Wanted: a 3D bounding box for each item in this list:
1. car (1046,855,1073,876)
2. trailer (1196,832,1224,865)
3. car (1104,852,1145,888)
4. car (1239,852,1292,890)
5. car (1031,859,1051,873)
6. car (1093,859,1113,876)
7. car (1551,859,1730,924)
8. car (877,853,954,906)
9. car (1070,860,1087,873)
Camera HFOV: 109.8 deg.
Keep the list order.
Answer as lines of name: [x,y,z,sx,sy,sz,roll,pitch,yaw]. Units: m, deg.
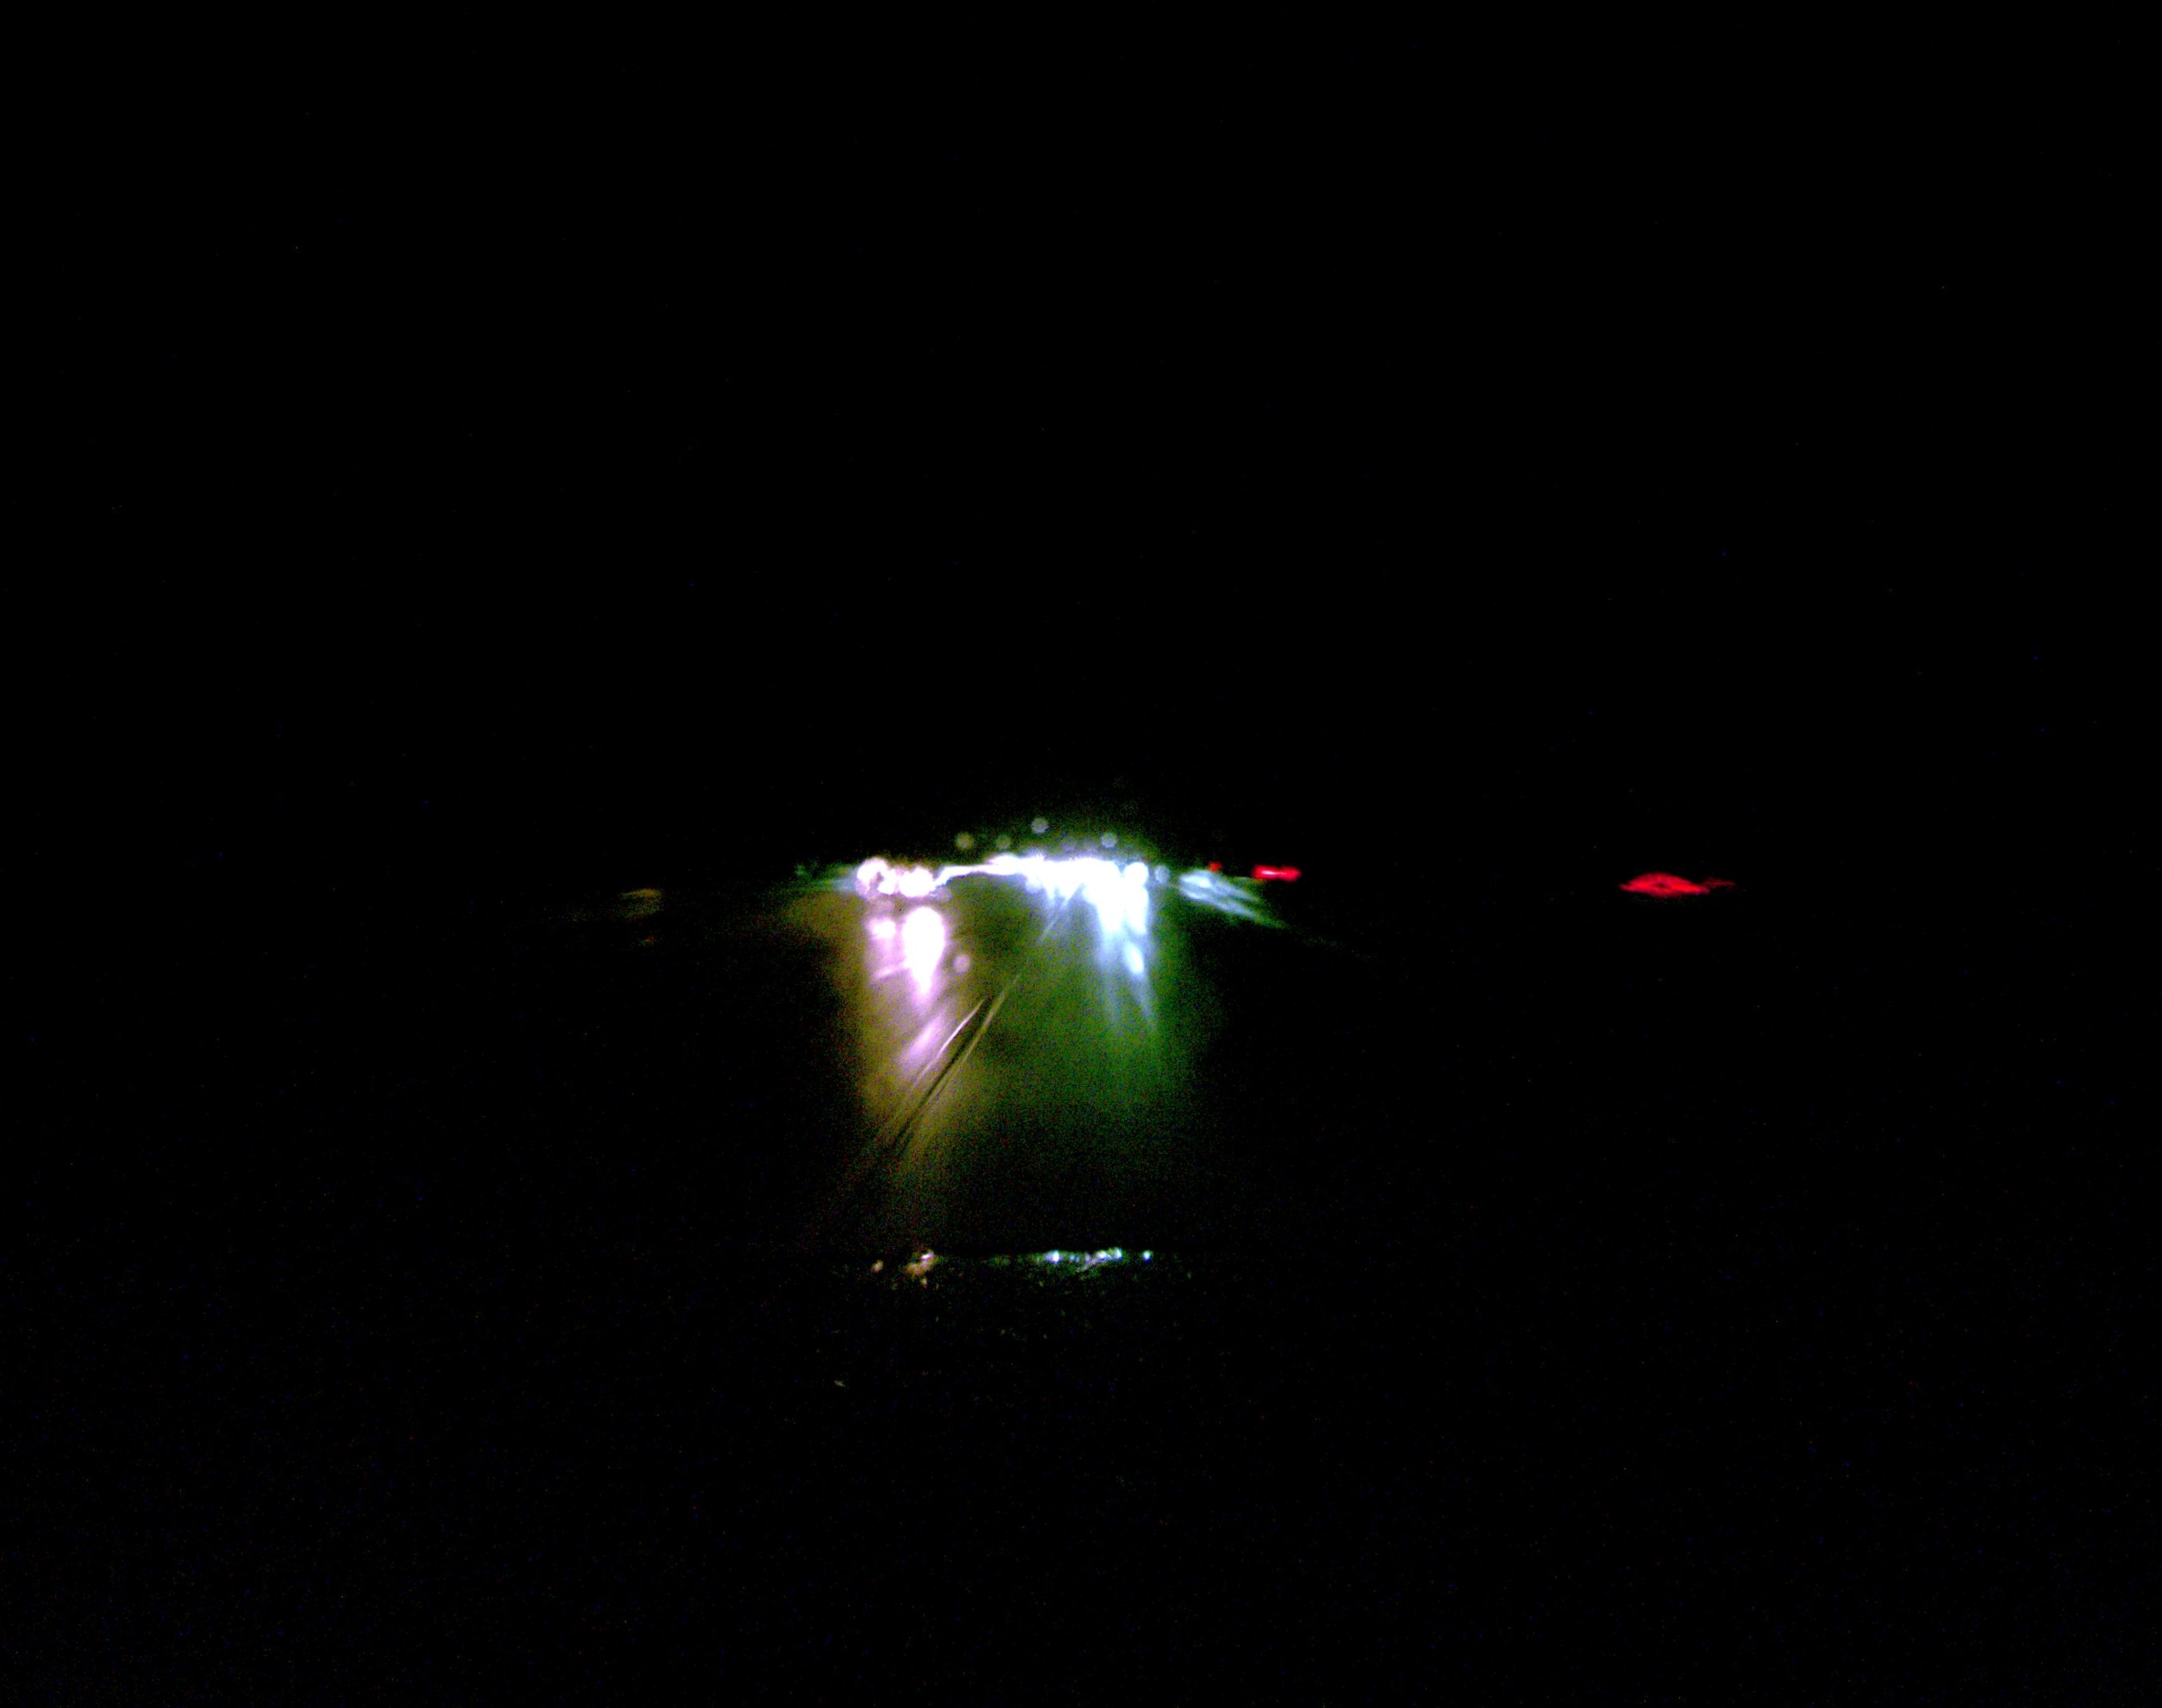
car: [-1.909,0.991,67.413,1.882,1.654,4.001,-3,0,5]
trailer: [20.023,-0.787,118.816,2.411,4.795,10.170,-3,0,0]
car: [2.272,0.785,38.647,1.882,1.654,4.001,-3,0,5]
car: [10.767,0.994,44.577,1.998,2.001,4.296,-3,-1,1]
car: [-5.034,1.480,95.422,1.882,1.654,4.001,-3,0,5]
car: [2.374,1.375,80.059,1.882,1.654,4.001,-3,0,4]
car: [17.579,1.098,24.271,1.999,1.763,4.958,0,1,-1]
car: [-6.358,0.928,29.761,1.832,1.835,4.699,-3,0,1]
car: [-0.362,1.651,100.371,1.883,1.654,4.001,-3,0,4]
